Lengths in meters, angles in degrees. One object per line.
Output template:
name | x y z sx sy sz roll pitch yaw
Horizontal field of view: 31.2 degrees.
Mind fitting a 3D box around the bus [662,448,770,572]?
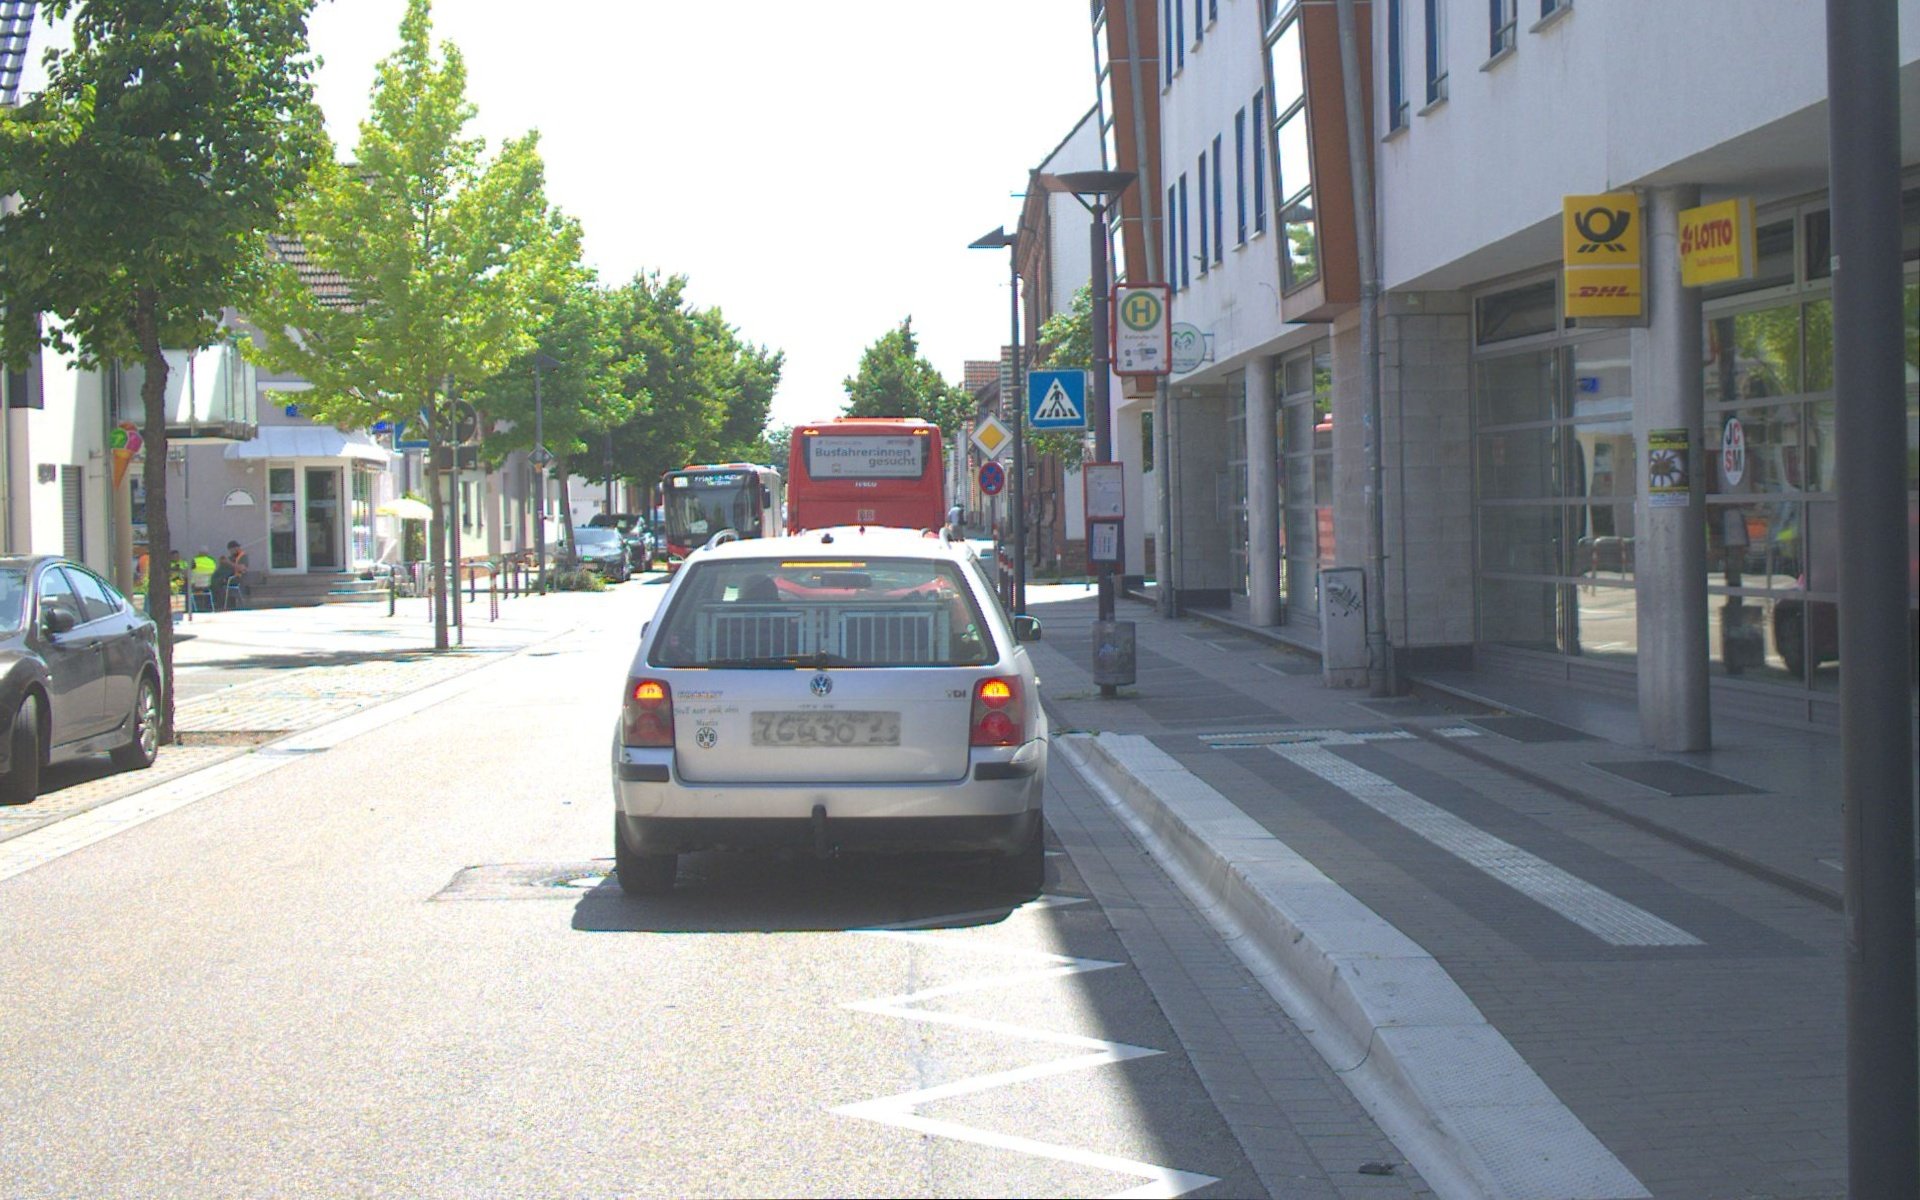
bus | -6.892 -2.626 98.009 2.668 3.113 17.811 -2 2 -4

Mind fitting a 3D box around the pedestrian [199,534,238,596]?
pedestrian | -14.300 -0.672 66.328 0.622 1.174 0.697 -1 1 -6

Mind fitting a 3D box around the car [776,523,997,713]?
car | -0.620 0.098 28.253 1.677 1.425 3.680 1 1 -2

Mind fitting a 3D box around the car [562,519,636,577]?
car | -9.430 -1.377 90.069 1.605 1.433 4.066 -1 1 -2

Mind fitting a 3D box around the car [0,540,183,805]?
car | -6.151 0.379 21.324 1.660 1.432 4.539 -1 1 -1

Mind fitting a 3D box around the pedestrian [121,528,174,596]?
pedestrian | -15.451 -0.724 65.387 0.634 1.284 0.789 0 1 -45

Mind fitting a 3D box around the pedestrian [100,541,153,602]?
pedestrian | -15.653 -0.539 64.592 0.634 1.112 0.789 0 1 -45

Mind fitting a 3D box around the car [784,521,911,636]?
car | -1.442 -0.311 45.194 1.593 1.425 3.680 0 1 -1

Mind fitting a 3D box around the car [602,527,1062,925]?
car | -0.534 0.435 14.678 1.677 1.425 3.680 2 1 -2

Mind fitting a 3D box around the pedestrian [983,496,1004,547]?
pedestrian | 1.112 -2.610 114.247 0.606 1.661 0.789 -1 1 -3

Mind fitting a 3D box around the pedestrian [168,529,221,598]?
pedestrian | -14.494 -0.699 65.122 0.634 1.284 0.789 0 1 -45

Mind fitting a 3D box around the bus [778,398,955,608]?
bus | -1.807 -1.658 60.470 2.740 3.287 12.707 0 1 -3

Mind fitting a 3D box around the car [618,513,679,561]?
car | -10.520 -2.144 116.336 1.811 1.553 4.001 -1 1 -2
